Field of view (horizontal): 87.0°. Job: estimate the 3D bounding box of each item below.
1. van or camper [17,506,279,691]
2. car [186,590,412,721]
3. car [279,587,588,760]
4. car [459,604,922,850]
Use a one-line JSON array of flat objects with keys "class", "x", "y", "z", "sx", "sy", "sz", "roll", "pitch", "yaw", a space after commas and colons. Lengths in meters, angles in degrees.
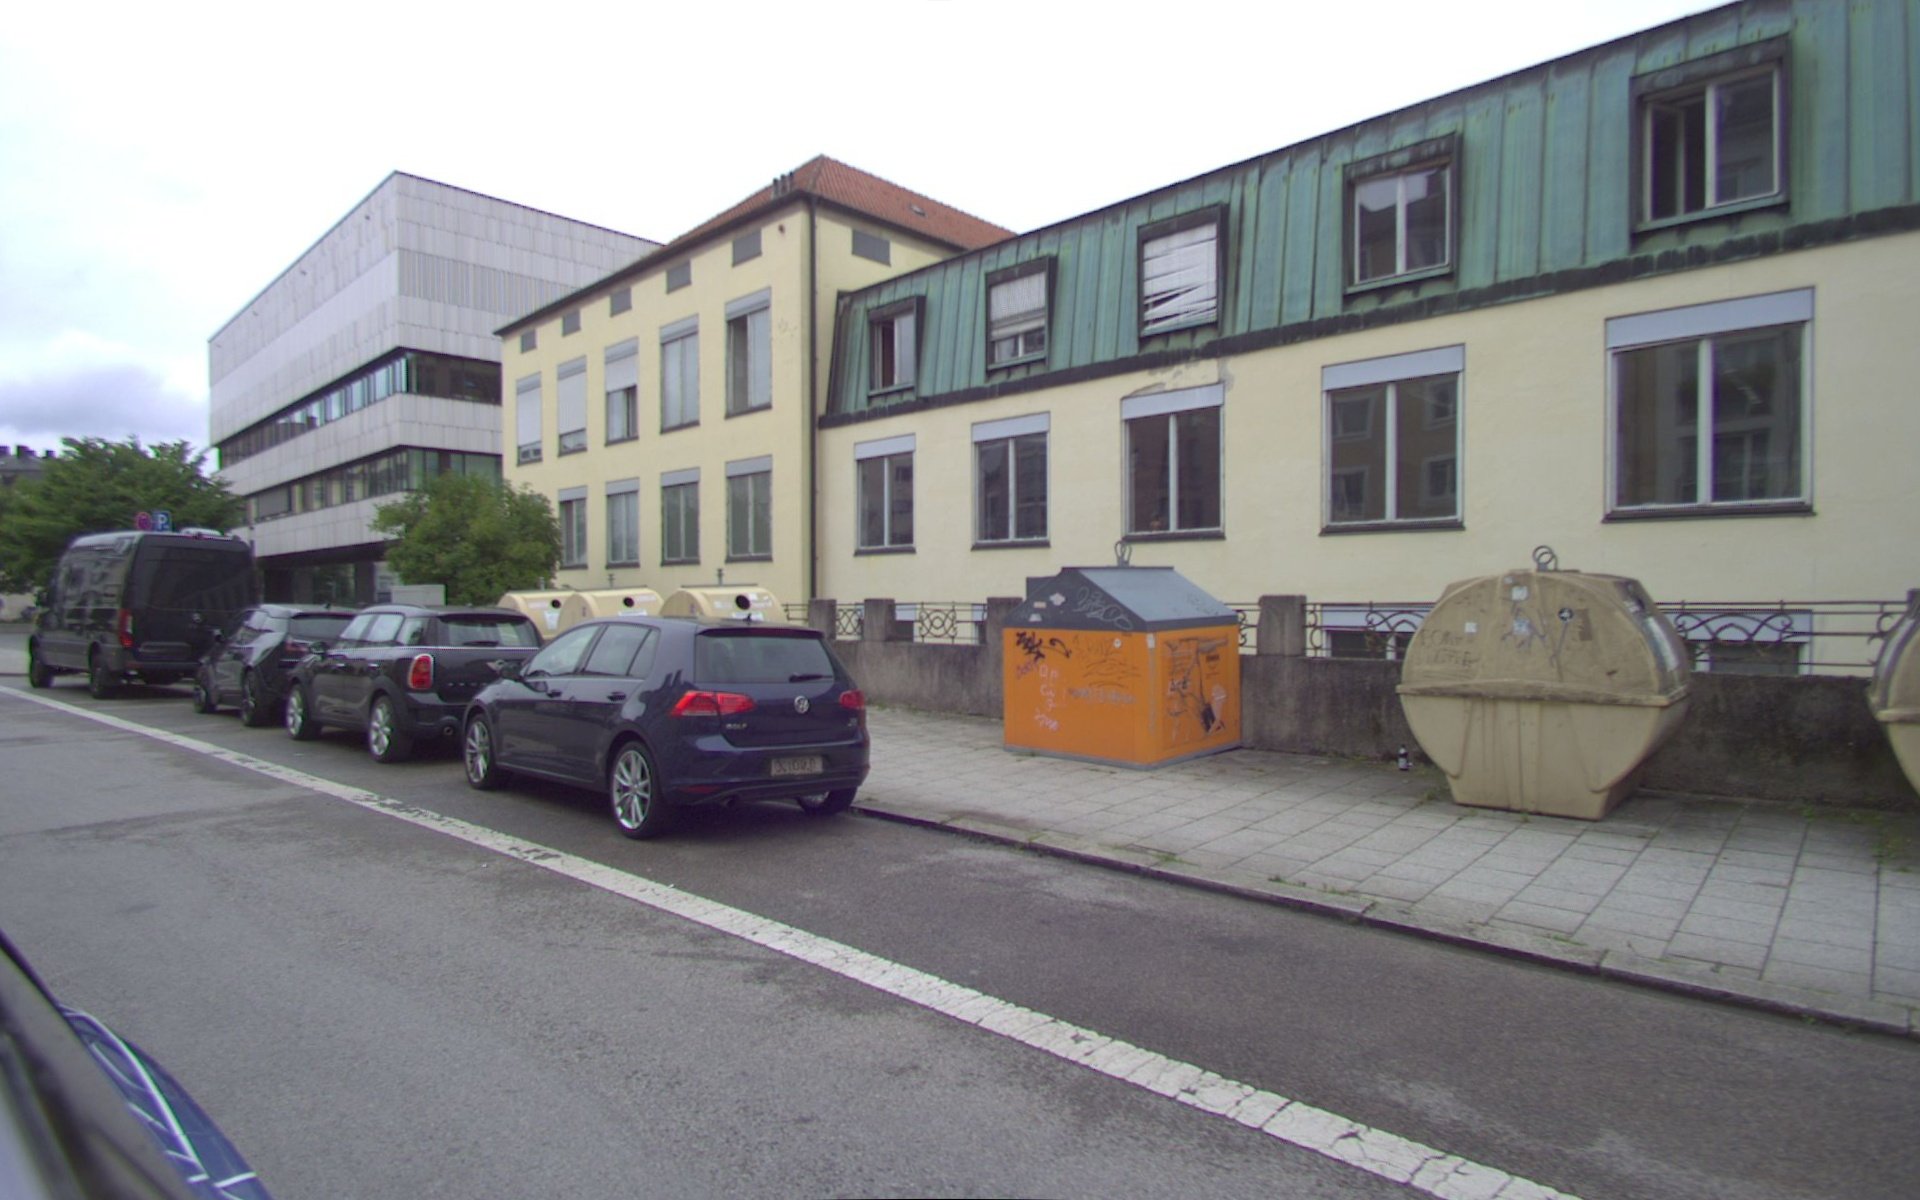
[{"class": "van or camper", "x": -14.480, "y": 0.052, "z": 17.937, "sx": 5.562, "sy": 2.829, "sz": 2.116, "roll": 0, "pitch": -4, "yaw": 36}, {"class": "car", "x": -9.296, "y": 0.726, "z": 14.126, "sx": 3.837, "sy": 1.574, "sz": 1.621, "roll": 0, "pitch": -3, "yaw": 41}, {"class": "car", "x": -5.878, "y": 0.722, "z": 11.121, "sx": 3.866, "sy": 1.574, "sz": 1.677, "roll": 0, "pitch": -3, "yaw": 41}, {"class": "car", "x": -2.283, "y": 0.796, "z": 7.885, "sx": 1.676, "sy": 1.415, "sz": 4.002, "roll": 4, "pitch": -4, "yaw": -45}]
